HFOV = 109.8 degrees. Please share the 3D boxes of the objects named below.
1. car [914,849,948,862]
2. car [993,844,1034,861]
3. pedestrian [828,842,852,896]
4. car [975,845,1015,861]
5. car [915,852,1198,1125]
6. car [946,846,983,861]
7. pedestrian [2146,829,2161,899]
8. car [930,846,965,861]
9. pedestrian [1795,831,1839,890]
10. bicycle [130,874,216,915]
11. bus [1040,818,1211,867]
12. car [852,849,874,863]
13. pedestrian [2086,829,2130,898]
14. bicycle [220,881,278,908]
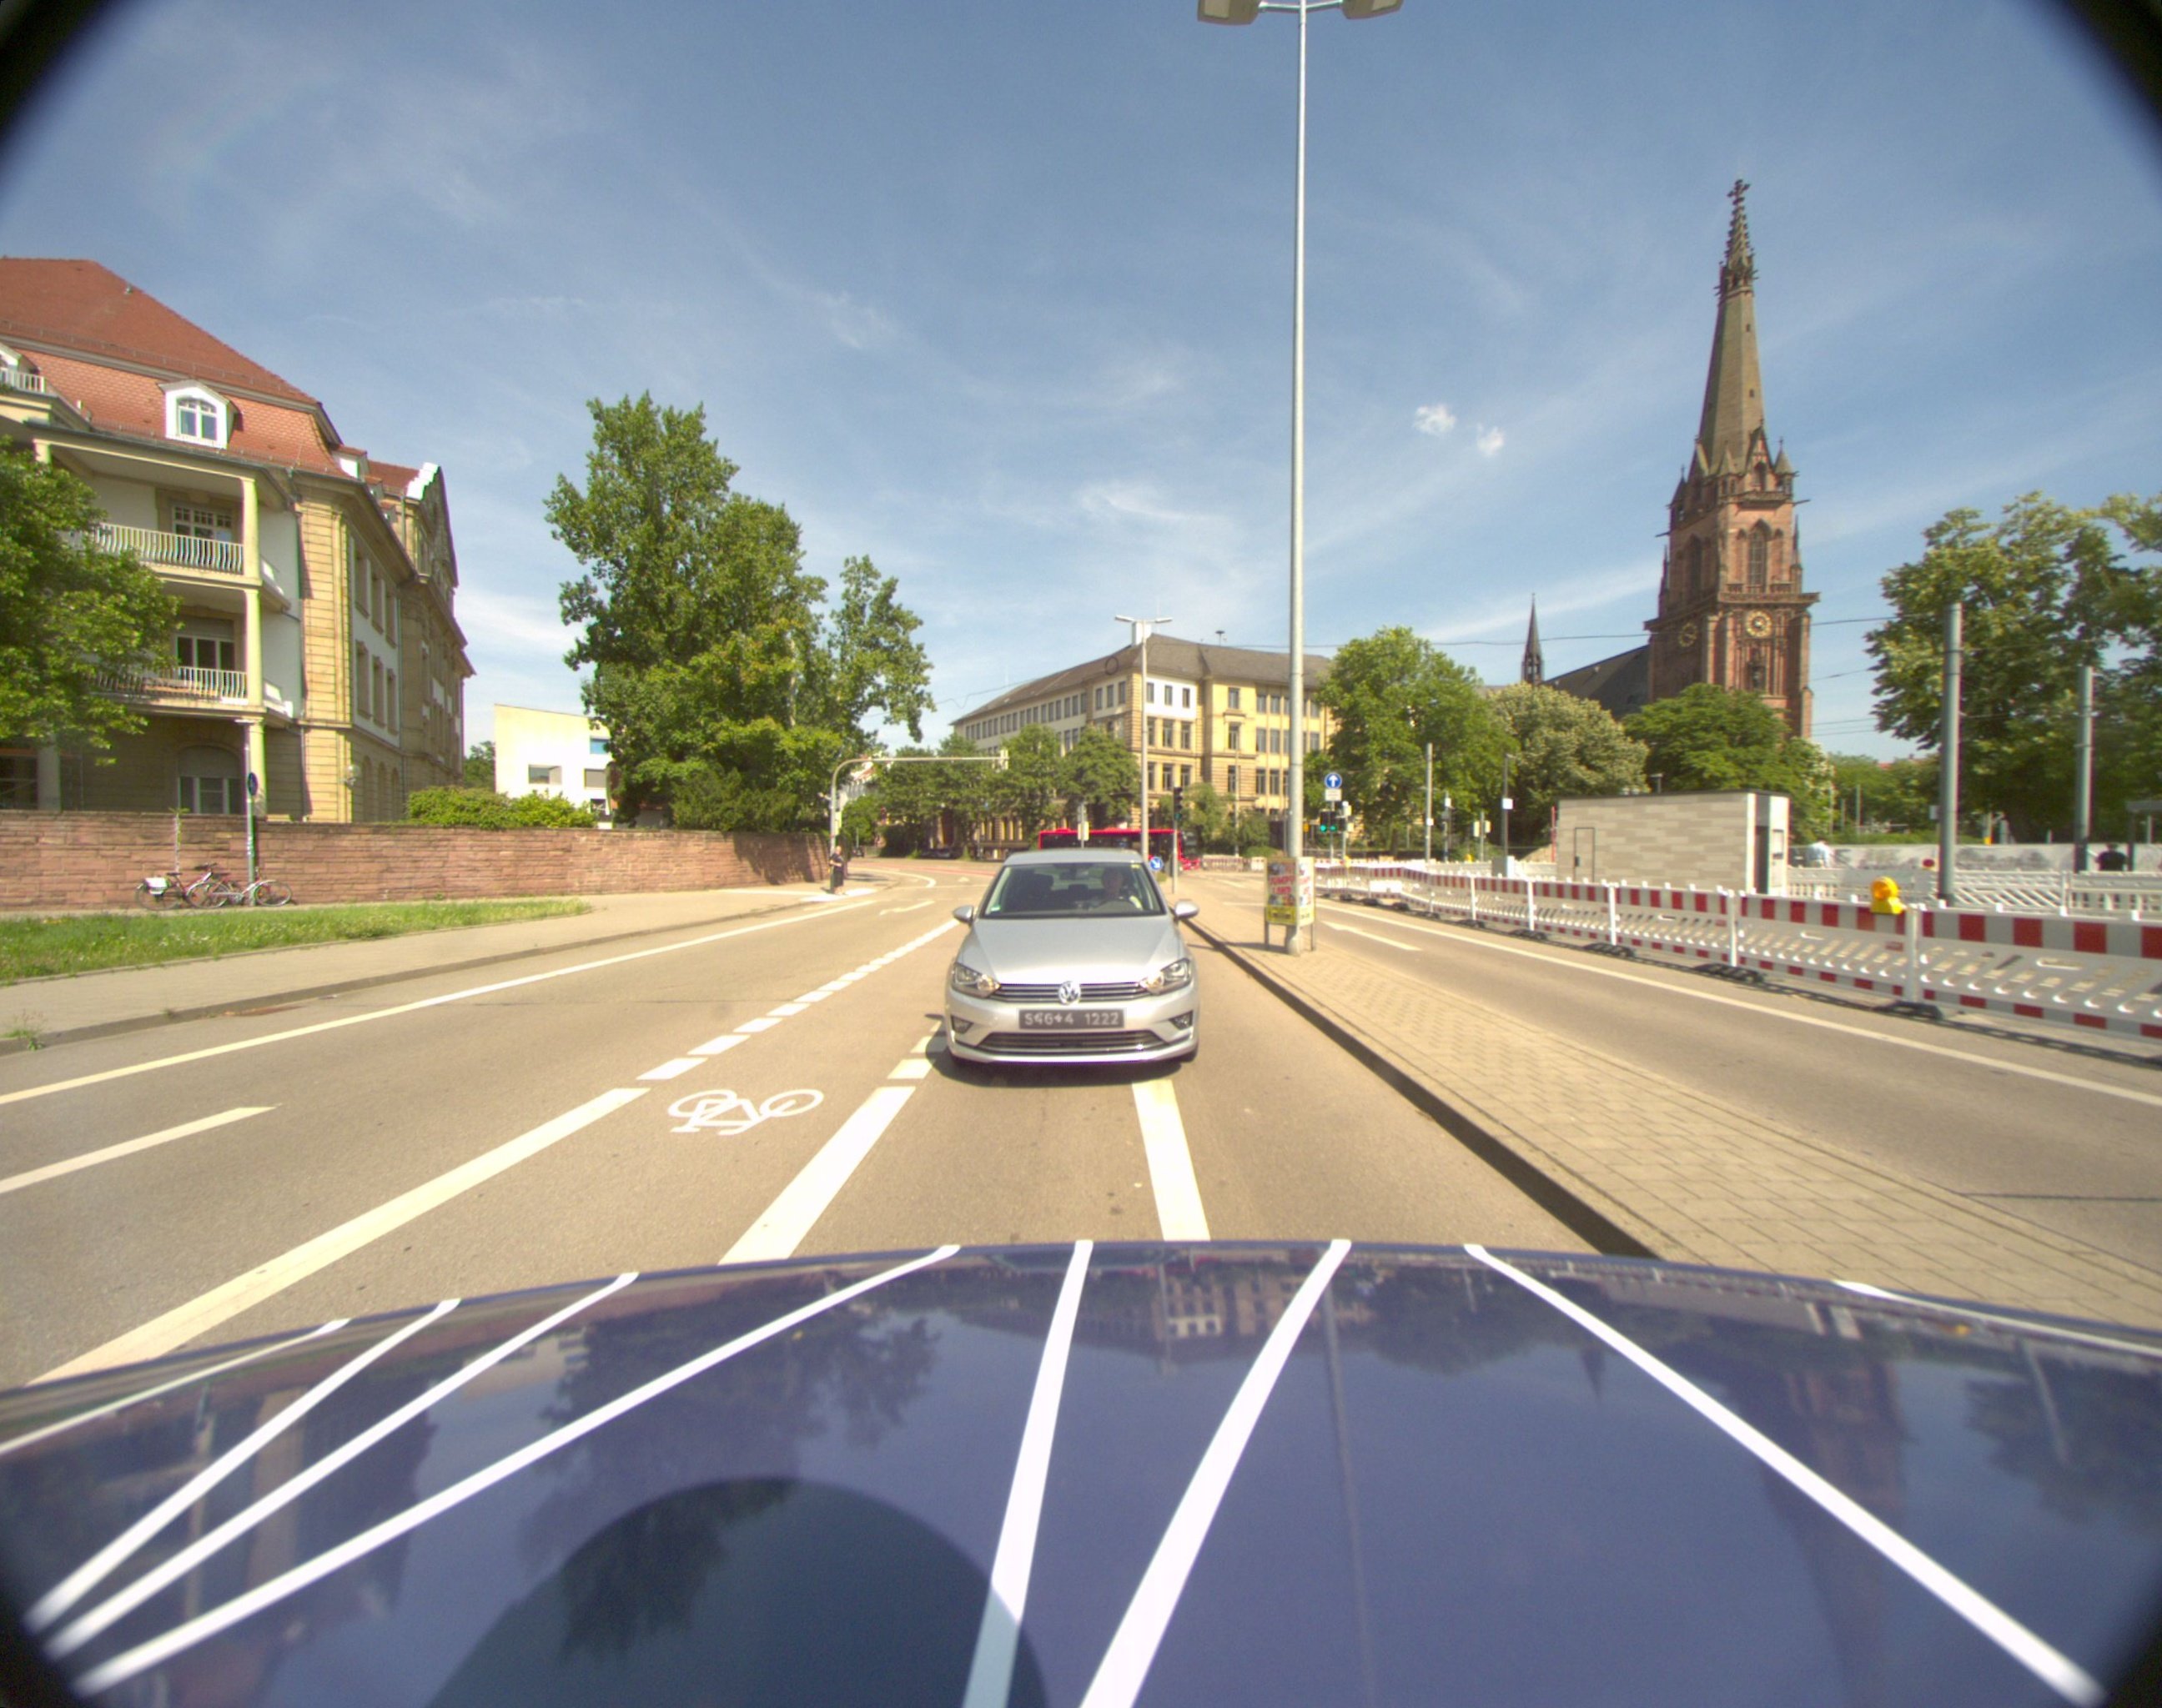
[{"bbox_3d":[-20.469,0.187,103.616,4.006,1.653,1.994,-3,4,-34],"label":"car"},{"bbox_3d":[-7.415,-0.159,83.323,4.006,1.653,1.994,-3,4,-34],"label":"car"},{"bbox_3d":[-9.068,0.543,28.602,0.796,2.002,0.615,0,1,-14],"label":"pedestrian"},{"bbox_3d":[-9.870,-0.134,87.090,4.006,1.653,1.994,-3,4,-36],"label":"car"},{"bbox_3d":[-0.054,0.797,6.625,1.687,1.577,4.152,1,1,3],"label":"car"},{"bbox_3d":[-14.616,-0.110,95.292,4.006,1.653,1.994,-3,4,-34],"label":"car"},{"bbox_3d":[31.344,0.295,21.828,0.688,2.002,0.818,0,2,-35],"label":"pedestrian"},{"bbox_3d":[-17.480,-0.100,99.839,4.006,1.653,1.994,-3,4,-35],"label":"car"},{"bbox_3d":[25.673,0.219,26.513,0.820,2.002,0.686,1,1,3],"label":"pedestrian"},{"bbox_3d":[-21.370,0.931,17.906,0.393,0.878,1.230,1,1,20],"label":"bicycle"},{"bbox_3d":[2.857,-0.742,53.667,12.378,3.076,3.139,-1,2,38],"label":"bus"},{"bbox_3d":[-31.092,0.272,108.286,2.003,1.880,3.990,-3,1,-31],"label":"car"},{"bbox_3d":[30.744,0.275,22.755,0.822,2.002,0.684,0,2,-33],"label":"pedestrian"},{"bbox_3d":[-20.748,1.003,18.962,0.273,0.598,0.950,2,1,39],"label":"bicycle"}]
